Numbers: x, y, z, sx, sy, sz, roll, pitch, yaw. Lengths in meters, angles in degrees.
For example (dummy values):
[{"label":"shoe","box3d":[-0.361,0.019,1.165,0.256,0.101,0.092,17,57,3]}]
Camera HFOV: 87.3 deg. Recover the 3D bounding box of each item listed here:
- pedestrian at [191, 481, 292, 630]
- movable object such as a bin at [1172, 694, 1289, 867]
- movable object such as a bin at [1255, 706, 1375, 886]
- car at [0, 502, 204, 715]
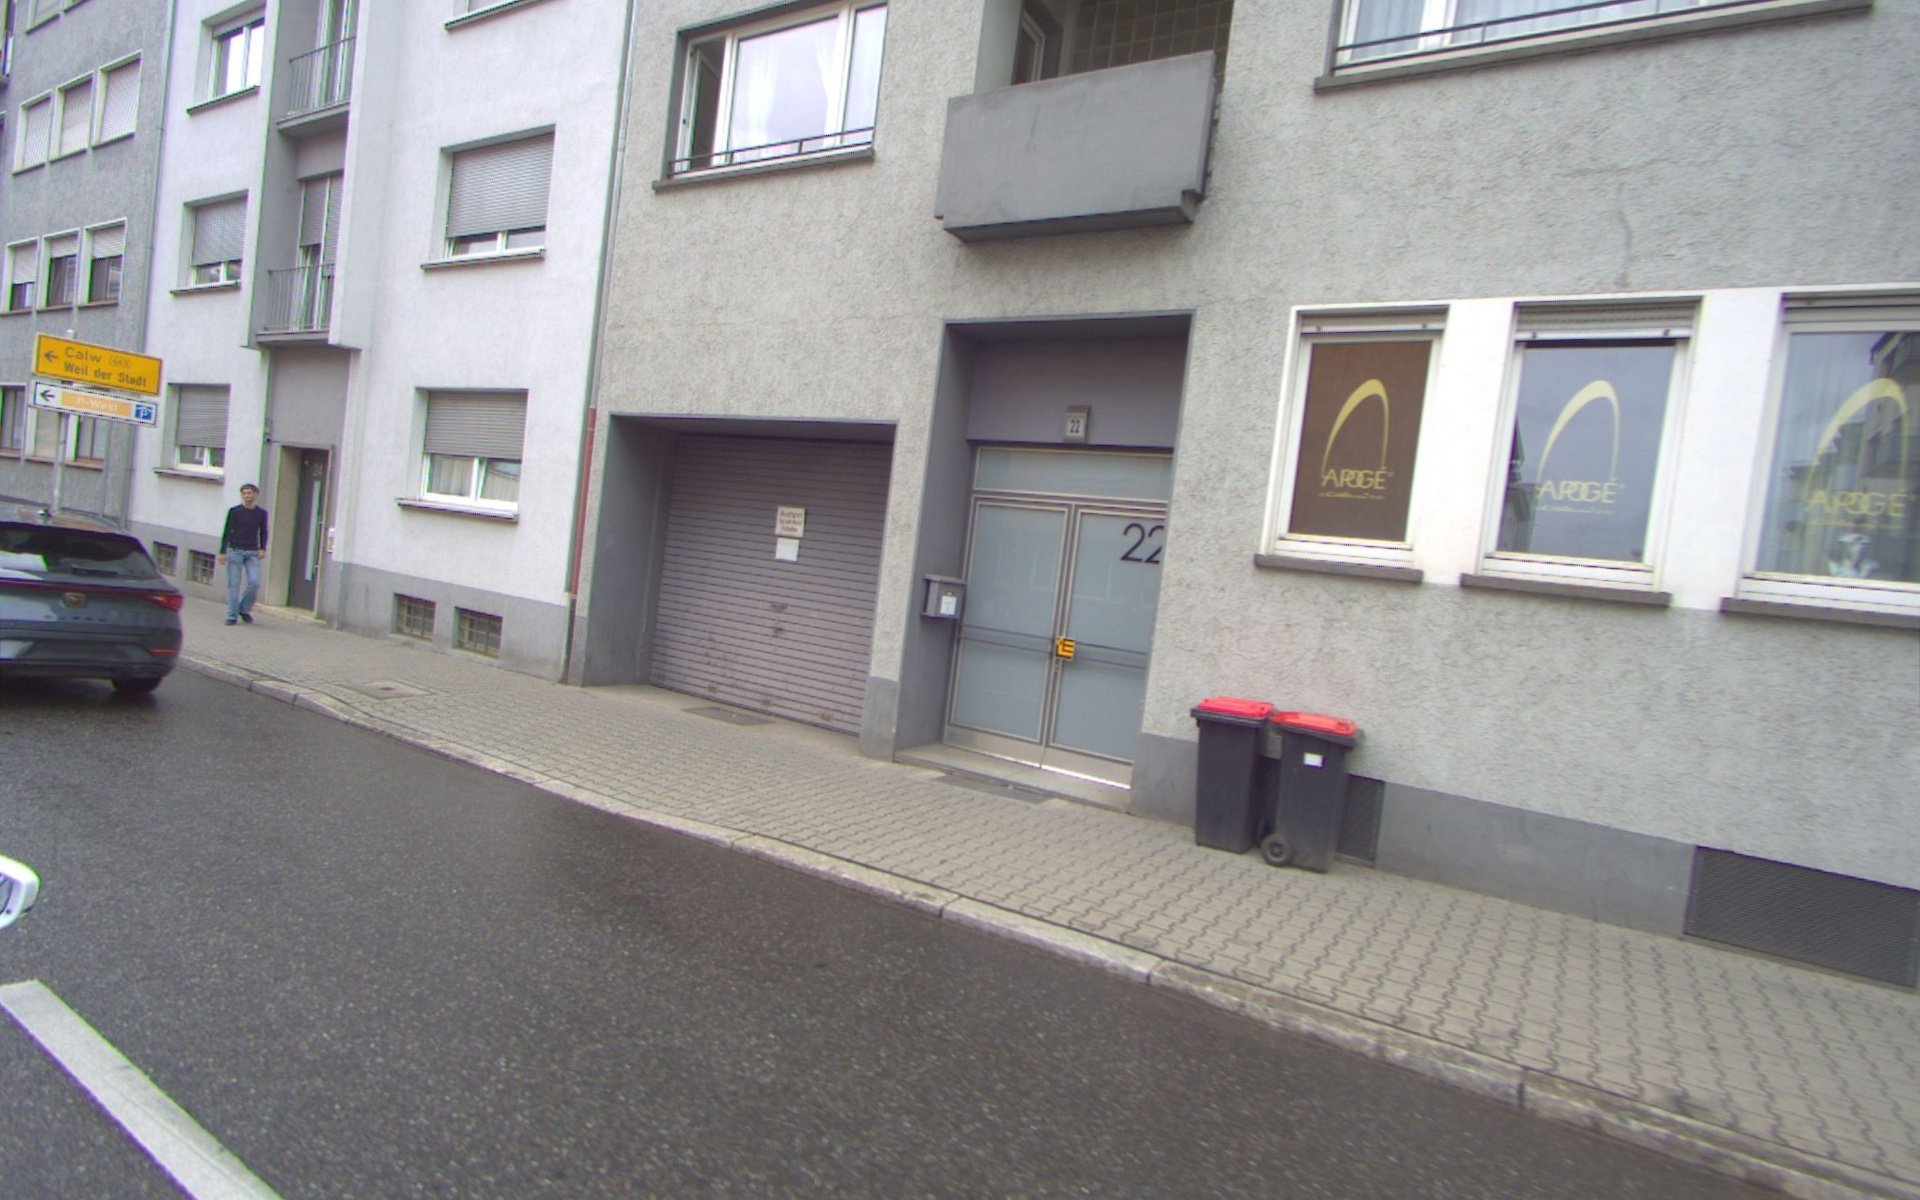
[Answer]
[{"label":"pedestrian","box3d":[-9.242,-0.571,12.938,1.039,1.802,0.643,7,4,31]},{"label":"movable object such as a bin","box3d":[1.766,1.146,6.557,0.507,0.969,0.539,7,4,32]},{"label":"movable object such as a bin","box3d":[2.227,1.198,6.303,0.507,0.963,0.539,7,4,32]},{"label":"car","box3d":[-8.203,-0.120,8.260,4.240,1.446,1.624,7,-2,32]}]
